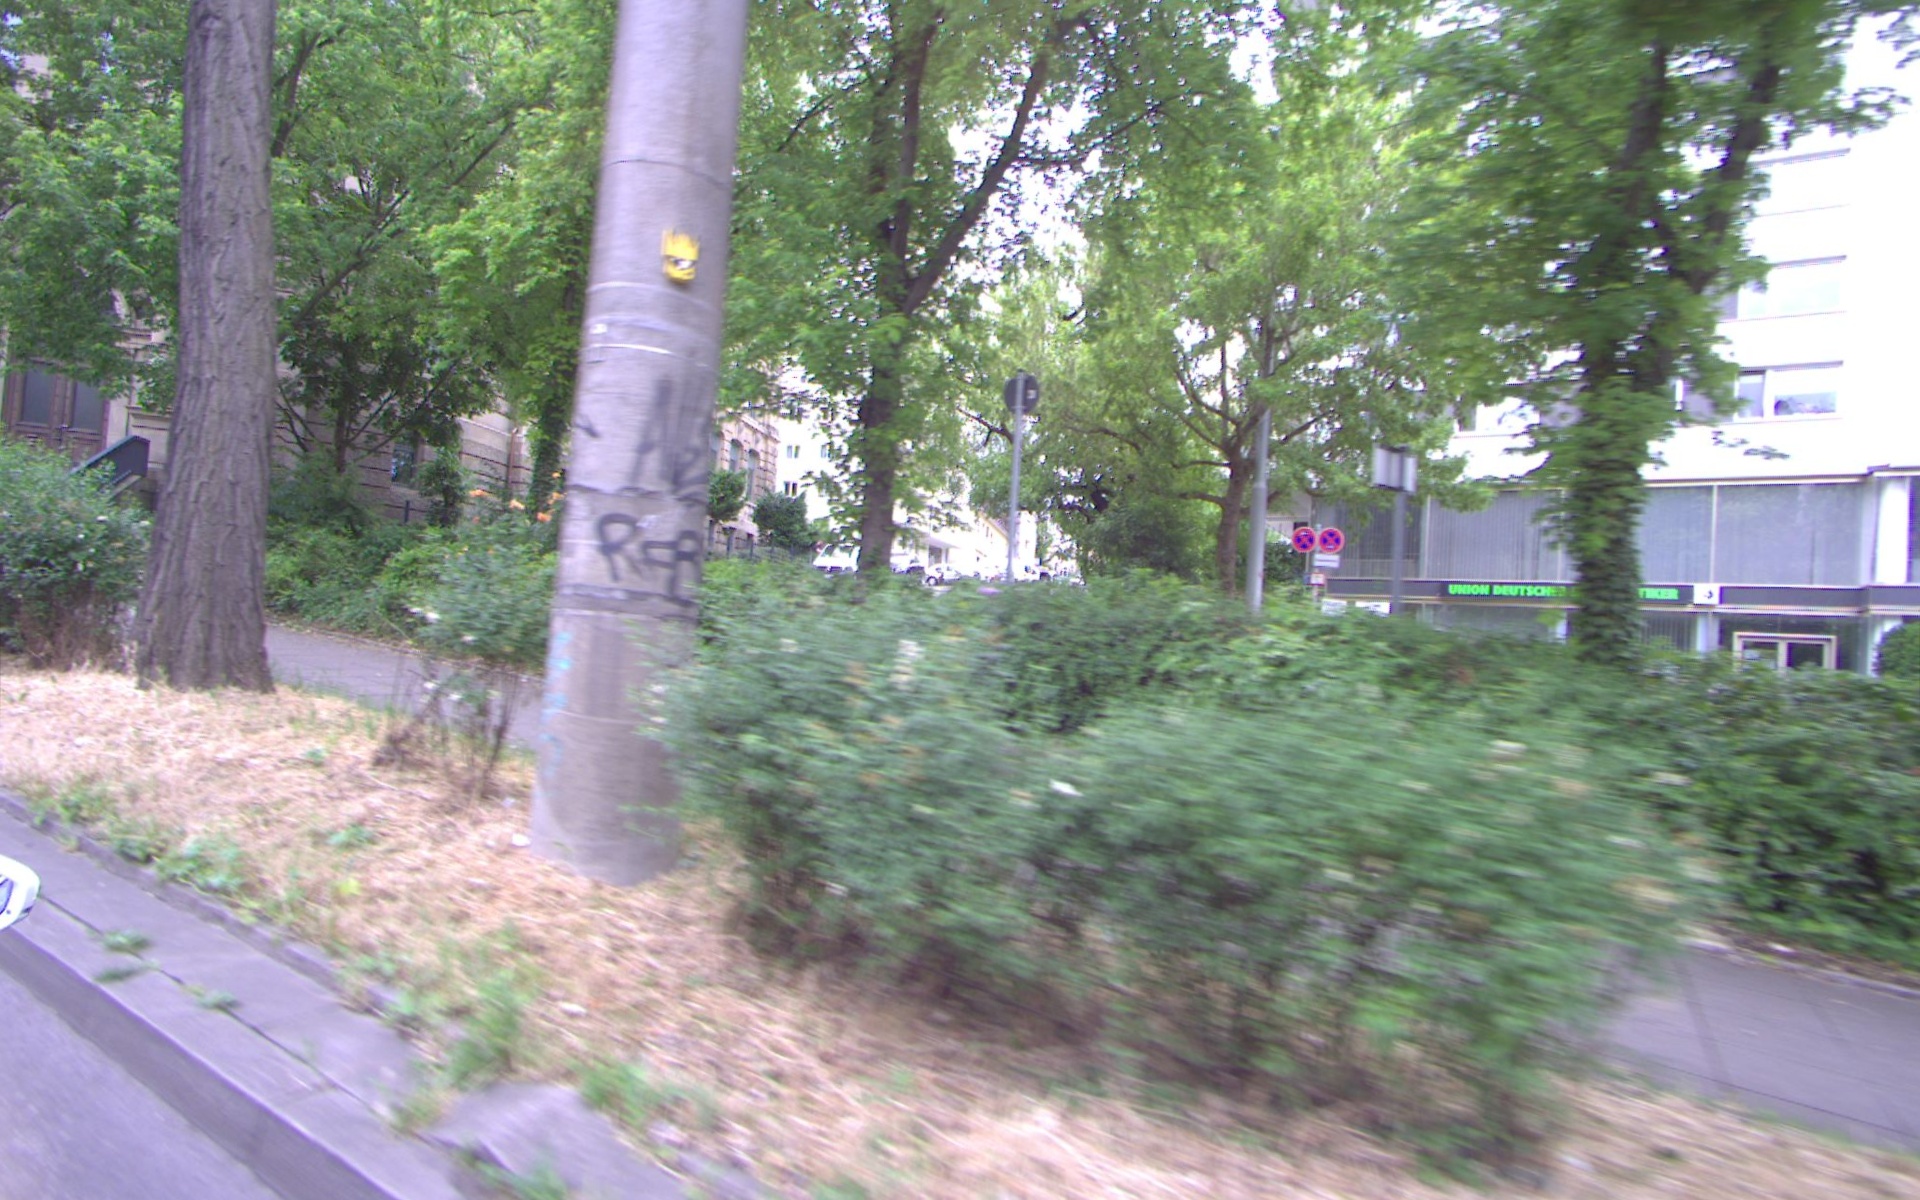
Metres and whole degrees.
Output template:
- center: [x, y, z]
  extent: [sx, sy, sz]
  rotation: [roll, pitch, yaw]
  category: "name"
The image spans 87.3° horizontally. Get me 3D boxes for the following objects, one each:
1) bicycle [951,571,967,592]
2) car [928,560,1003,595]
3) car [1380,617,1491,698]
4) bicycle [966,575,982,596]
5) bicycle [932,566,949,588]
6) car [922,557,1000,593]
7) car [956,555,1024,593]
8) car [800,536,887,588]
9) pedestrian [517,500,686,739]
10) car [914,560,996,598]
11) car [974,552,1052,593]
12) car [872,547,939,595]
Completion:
- center: [-0.044, -1.106, 60.454]
  extent: [0.597, 1.057, 2.069]
  rotation: [8, -2, 8]
  category: "bicycle"
- center: [0.391, -1.537, 69.683]
  extent: [4.796, 1.756, 2.001]
  rotation: [7, 0, 9]
  category: "car"
- center: [11.418, 1.315, 24.034]
  extent: [1.803, 1.592, 3.987]
  rotation: [7, 2, 32]
  category: "car"
- center: [0.845, -0.848, 60.472]
  extent: [0.597, 1.057, 2.069]
  rotation: [8, -2, 7]
  category: "bicycle"
- center: [-1.184, -1.374, 60.447]
  extent: [0.597, 1.057, 2.069]
  rotation: [8, -2, 8]
  category: "bicycle"
- center: [0.076, -1.674, 67.592]
  extent: [4.796, 1.756, 2.001]
  rotation: [7, 0, 9]
  category: "car"
- center: [2.311, -1.987, 77.194]
  extent: [4.796, 2.246, 2.001]
  rotation: [7, 1, 9]
  category: "car"
- center: [-4.915, -1.562, 43.255]
  extent: [2.136, 1.959, 5.215]
  rotation: [4, 2, 11]
  category: "car"
- center: [-2.803, 0.151, 7.883]
  extent: [0.772, 1.724, 0.772]
  rotation: [7, 0, 34]
  category: "pedestrian"
- center: [-0.290, -1.299, 63.489]
  extent: [4.796, 1.756, 2.001]
  rotation: [7, 0, 9]
  category: "car"
- center: [4.515, -2.313, 85.269]
  extent: [6.080, 2.670, 2.001]
  rotation: [7, 1, 11]
  category: "car"
- center: [-2.564, -1.342, 48.631]
  extent: [1.962, 1.775, 4.893]
  rotation: [6, -1, 11]
  category: "car"
